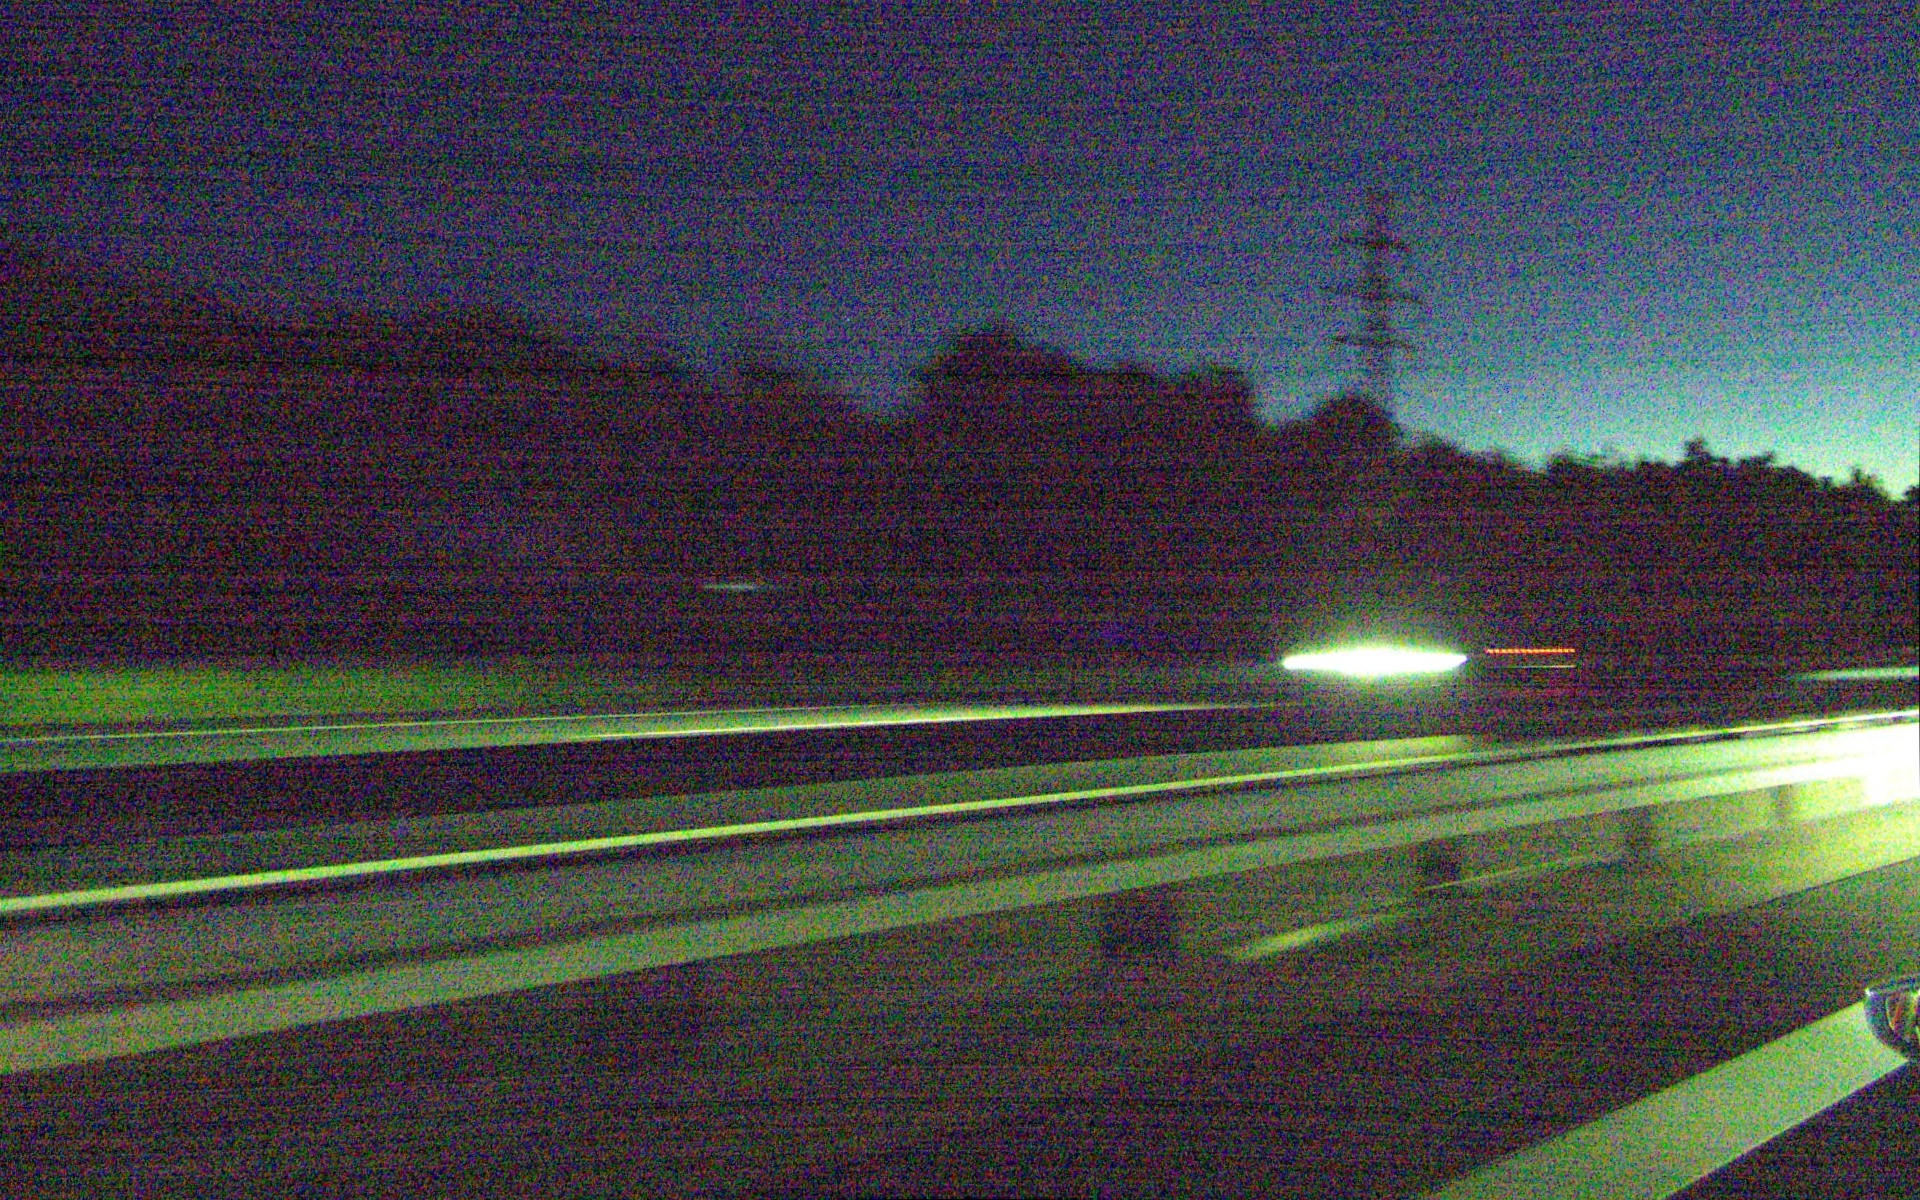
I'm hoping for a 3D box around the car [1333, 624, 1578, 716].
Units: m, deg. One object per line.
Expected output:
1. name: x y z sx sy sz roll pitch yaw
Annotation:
1. car: 10.054 1.346 20.274 5.015 1.659 1.985 1 -3 -30
